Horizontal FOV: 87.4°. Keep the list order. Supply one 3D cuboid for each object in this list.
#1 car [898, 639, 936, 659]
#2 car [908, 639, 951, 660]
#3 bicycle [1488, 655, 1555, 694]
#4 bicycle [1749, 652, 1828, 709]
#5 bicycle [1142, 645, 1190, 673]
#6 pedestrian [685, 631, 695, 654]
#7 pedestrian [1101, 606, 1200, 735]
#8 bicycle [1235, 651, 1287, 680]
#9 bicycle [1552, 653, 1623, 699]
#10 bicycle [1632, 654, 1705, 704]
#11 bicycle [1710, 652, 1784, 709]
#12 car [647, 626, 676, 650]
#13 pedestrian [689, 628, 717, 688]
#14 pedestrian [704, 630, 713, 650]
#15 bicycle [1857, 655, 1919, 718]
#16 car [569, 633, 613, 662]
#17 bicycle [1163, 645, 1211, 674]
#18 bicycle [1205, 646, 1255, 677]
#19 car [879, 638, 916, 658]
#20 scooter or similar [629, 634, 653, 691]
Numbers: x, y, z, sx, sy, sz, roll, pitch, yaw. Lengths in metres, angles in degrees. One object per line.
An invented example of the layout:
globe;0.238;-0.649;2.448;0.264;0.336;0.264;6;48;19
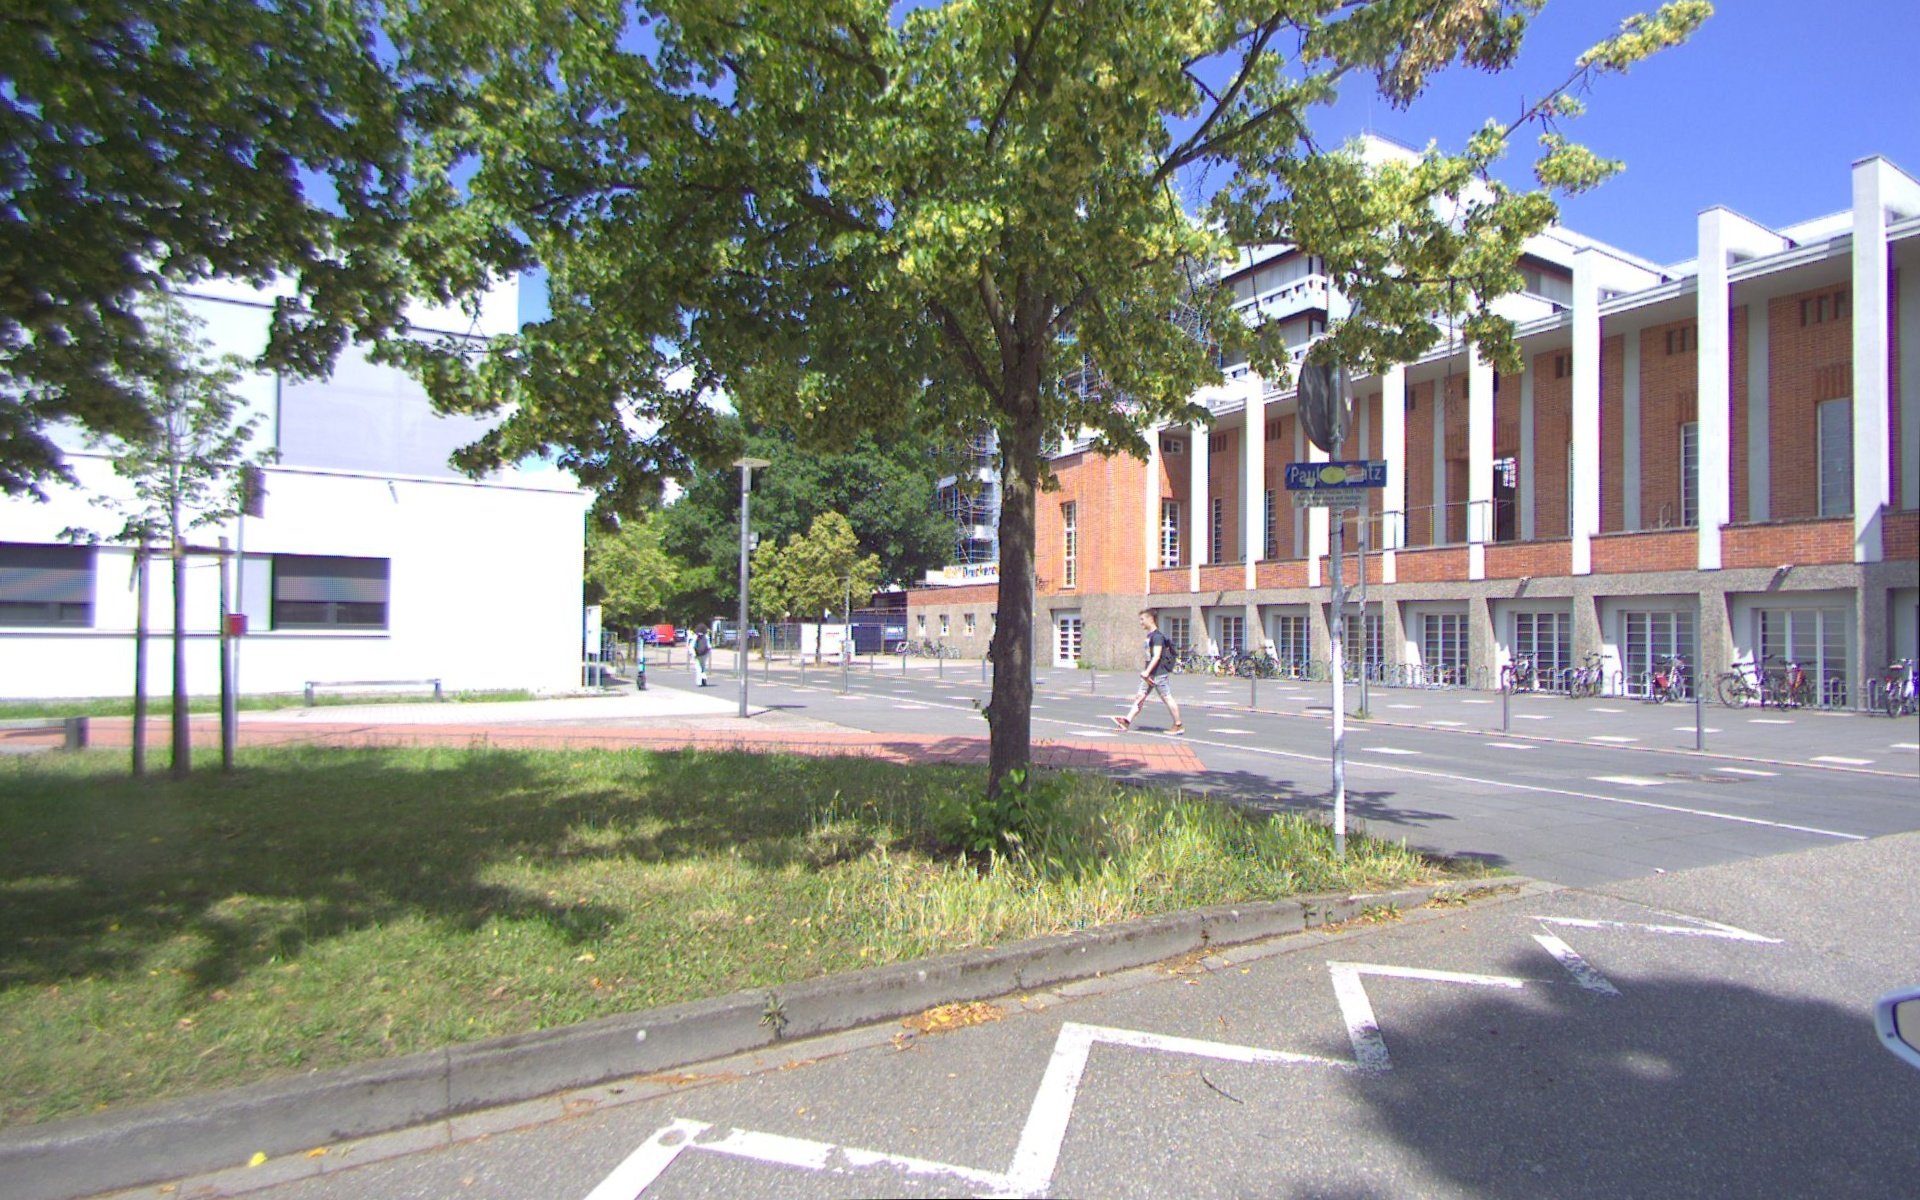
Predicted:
car;-2.503;2.865;58.804;2.262;1.196;0.520;1;-2;-28
car;-1.746;2.803;57.247;2.340;1.196;0.788;1;-2;-28
bicycle;14.794;1.956;26.449;1.934;0.973;0.679;2;-2;-31
bicycle;17.484;1.681;21.189;2.003;1.140;0.588;2;-2;-29
bicycle;7.905;2.251;38.533;1.934;1.043;0.537;2;-2;-31
pedestrian;-24.443;3.858;90.962;0.749;2.040;0.566;1;-2;-26
pedestrian;2.833;1.049;15.048;1.150;1.823;1.020;2;-3;-9
bicycle;10.280;2.217;34.271;1.934;0.953;0.564;2;-2;-31
bicycle;15.513;1.866;24.805;2.005;1.075;0.658;2;-2;-31
bicycle;16.363;1.803;23.189;1.993;1.096;0.616;2;-2;-31
bicycle;17.118;1.722;21.831;2.001;1.140;0.436;0;-1;-26
car;-24.478;3.105;82.287;1.887;1.906;3.979;1;-2;-23
pedestrian;-6.399;1.432;24.970;0.518;1.458;0.696;1;-2;-27
pedestrian;-19.883;3.178;79.544;0.633;1.559;0.451;1;-2;-19
bicycle;18.301;1.658;19.567;2.005;1.140;0.661;2;-2;-31
car;-19.118;2.435;52.000;1.535;1.404;3.425;2;-2;-31
bicycle;8.541;2.236;37.734;1.934;1.043;0.514;2;-2;-31
bicycle;9.575;2.169;35.599;1.934;1.043;0.526;2;-2;-31
car;-3.786;2.935;60.874;2.298;1.196;0.476;1;-2;-28
scooter or similar;-7.246;1.404;22.804;0.323;1.252;1.066;1;-2;-26
